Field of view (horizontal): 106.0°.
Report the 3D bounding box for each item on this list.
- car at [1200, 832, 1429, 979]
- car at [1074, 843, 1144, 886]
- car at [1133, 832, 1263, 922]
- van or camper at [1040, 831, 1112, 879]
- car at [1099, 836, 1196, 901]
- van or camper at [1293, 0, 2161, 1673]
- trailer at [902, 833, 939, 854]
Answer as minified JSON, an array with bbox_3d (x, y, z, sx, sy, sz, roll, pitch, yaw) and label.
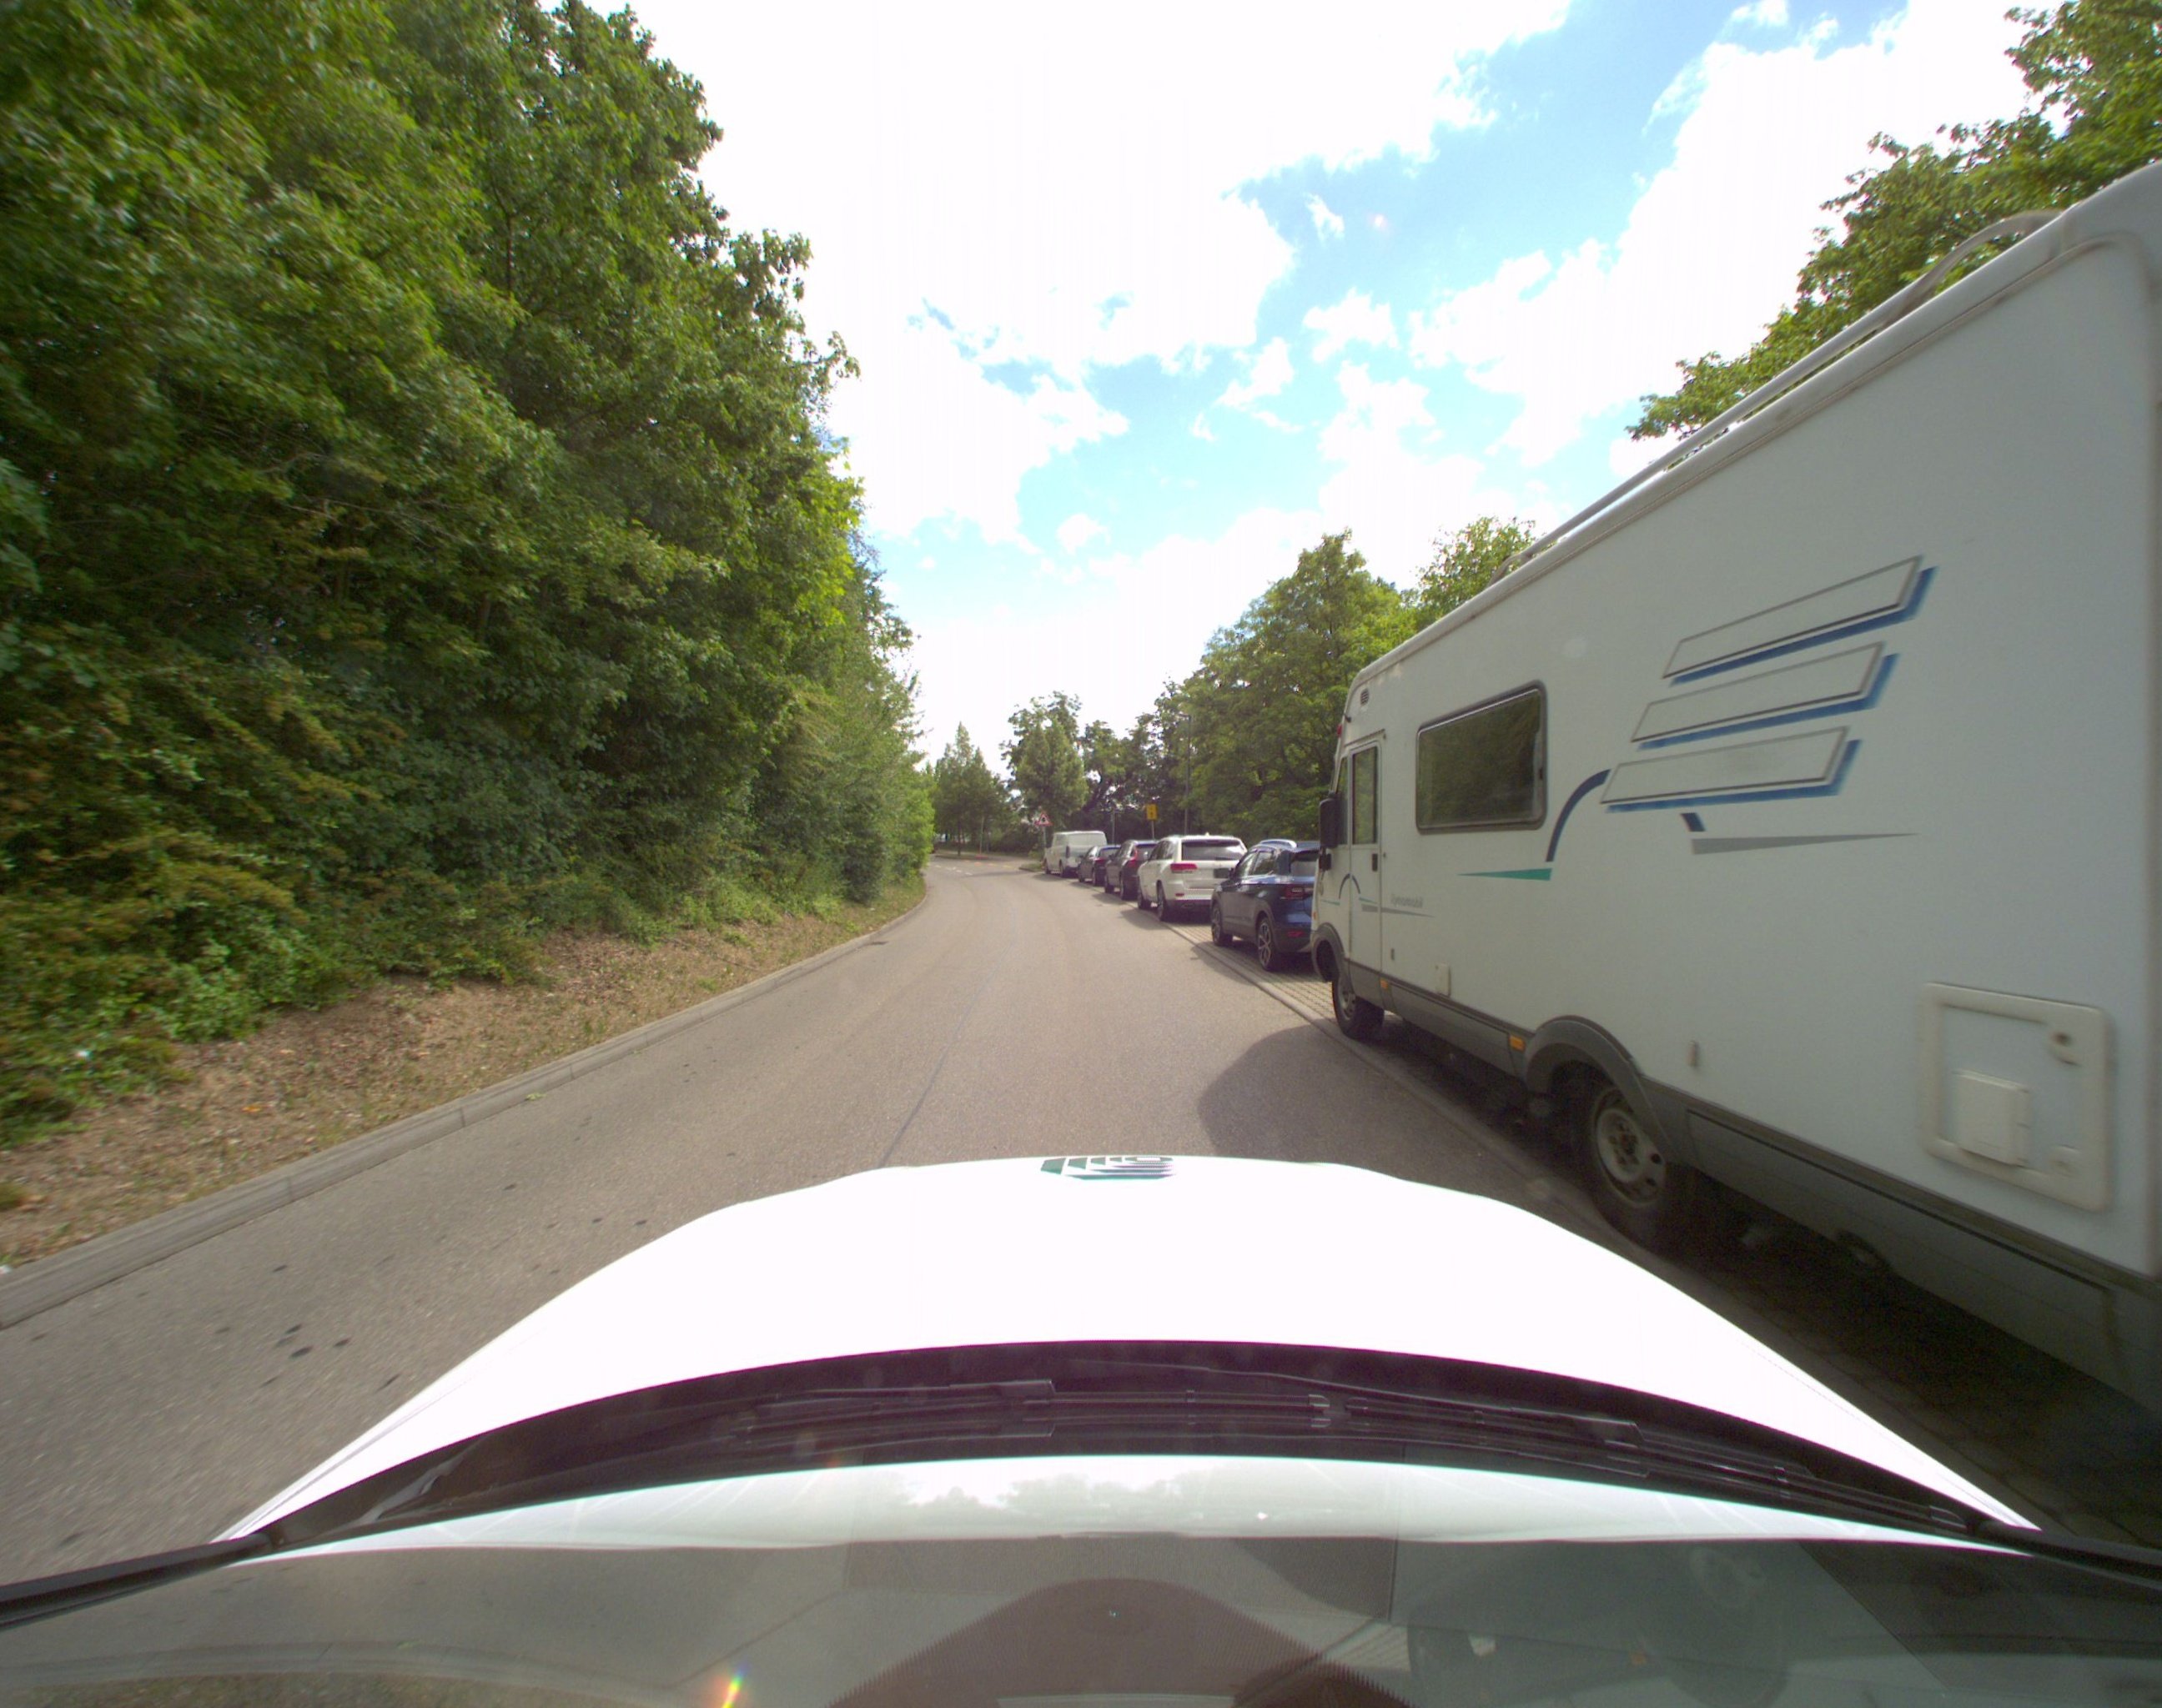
[{"bbox_3d":[2.885,0.570,11.014,1.707,1.591,3.995,2,0,-4],"label":"car"},{"bbox_3d":[0.951,0.344,30.254,1.798,1.464,3.986,0,1,-11],"label":"car"},{"bbox_3d":[2.377,0.398,17.738,1.868,1.689,4.573,1,1,-4],"label":"car"},{"bbox_3d":[-0.328,-0.033,36.073,1.996,1.920,5.241,-1,2,-14],"label":"van or camper"},{"bbox_3d":[1.831,0.337,23.844,1.991,1.626,4.269,-2,2,-6],"label":"car"},{"bbox_3d":[3.023,-0.065,4.245,2.324,2.869,6.151,0,0,1],"label":"van or camper"},{"bbox_3d":[-13.209,-0.916,66.727,1.796,1.525,3.963,-2,4,-30],"label":"trailer"}]
